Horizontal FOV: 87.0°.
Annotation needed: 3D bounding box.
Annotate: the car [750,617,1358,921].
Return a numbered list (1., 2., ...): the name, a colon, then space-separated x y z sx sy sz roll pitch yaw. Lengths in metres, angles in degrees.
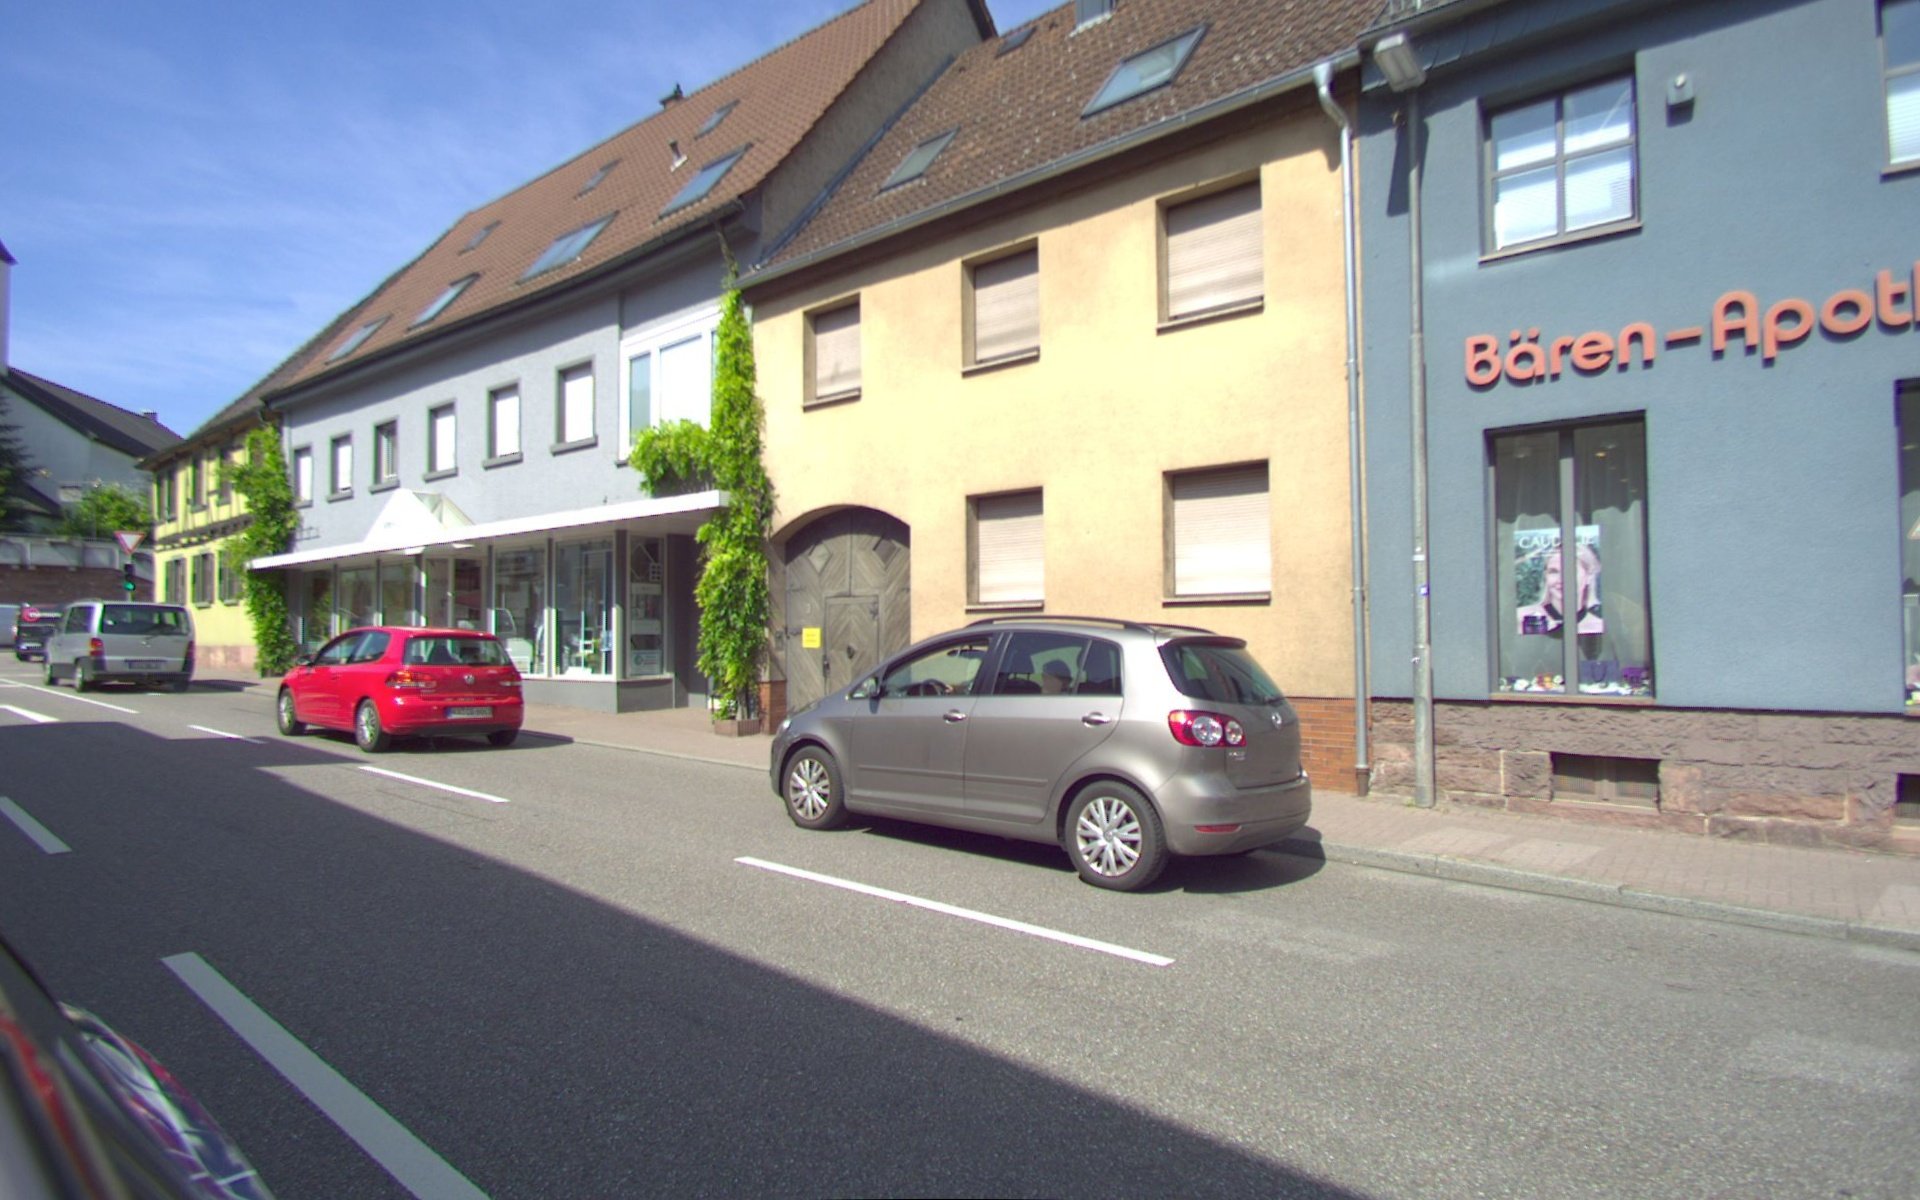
1. car: 0.463 0.925 7.058 4.016 1.532 1.612 -1 -4 40

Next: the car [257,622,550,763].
1. car: -7.130 1.071 12.823 4.070 1.504 1.742 -1 -4 38

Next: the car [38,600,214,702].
1. car: -17.487 1.049 21.152 4.546 1.905 1.865 -1 -4 39

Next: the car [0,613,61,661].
1. car: -39.023 1.414 39.526 2.269 1.905 5.573 1 -3 10

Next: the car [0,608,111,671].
1. car: -31.077 1.380 34.780 2.129 1.938 5.179 5 -5 -33
